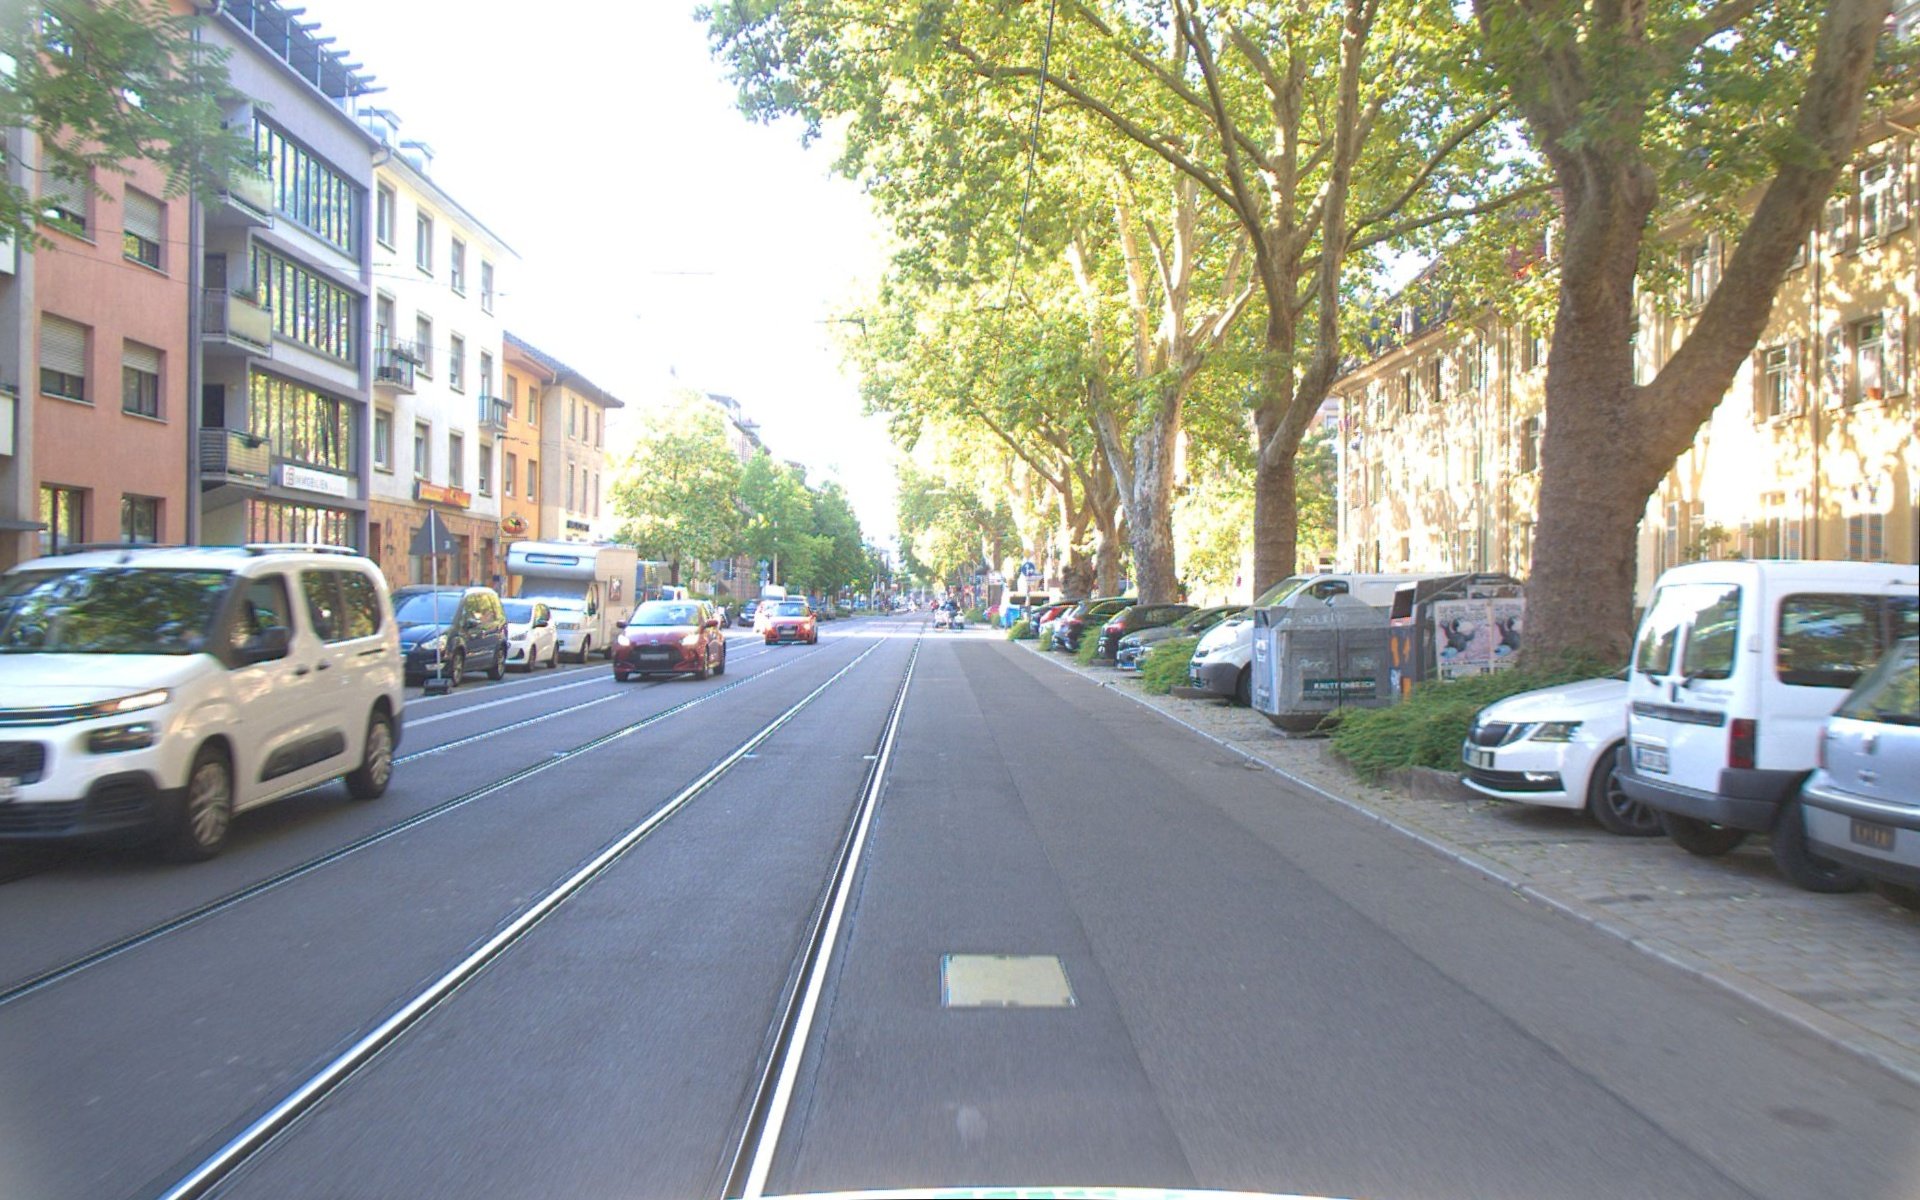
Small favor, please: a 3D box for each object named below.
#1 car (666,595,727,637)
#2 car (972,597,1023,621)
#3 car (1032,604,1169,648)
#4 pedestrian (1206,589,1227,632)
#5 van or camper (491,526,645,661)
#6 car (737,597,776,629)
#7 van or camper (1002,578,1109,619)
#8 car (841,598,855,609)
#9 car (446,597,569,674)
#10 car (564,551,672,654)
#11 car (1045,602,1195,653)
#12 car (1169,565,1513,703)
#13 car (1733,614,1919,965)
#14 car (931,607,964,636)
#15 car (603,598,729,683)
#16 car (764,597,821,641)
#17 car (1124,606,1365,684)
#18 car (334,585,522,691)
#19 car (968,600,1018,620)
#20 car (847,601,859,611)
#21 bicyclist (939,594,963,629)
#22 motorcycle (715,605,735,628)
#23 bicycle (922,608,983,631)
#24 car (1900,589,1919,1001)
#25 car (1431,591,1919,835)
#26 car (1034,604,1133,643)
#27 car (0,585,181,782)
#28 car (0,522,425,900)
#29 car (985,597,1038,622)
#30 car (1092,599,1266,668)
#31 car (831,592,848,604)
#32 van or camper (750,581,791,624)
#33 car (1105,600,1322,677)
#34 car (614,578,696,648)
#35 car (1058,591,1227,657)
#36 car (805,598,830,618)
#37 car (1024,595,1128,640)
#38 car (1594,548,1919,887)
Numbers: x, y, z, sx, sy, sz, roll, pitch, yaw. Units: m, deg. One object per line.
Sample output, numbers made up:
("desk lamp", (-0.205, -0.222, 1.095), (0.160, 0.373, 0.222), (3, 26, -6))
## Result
("car", (-10.450, 0.620, 65.900), (1.800, 1.494, 5.066), (3, 0, -3))
("car", (2.927, 0.683, 128.698), (3.906, 1.816, 2.000), (0, 0, -1))
("car", (4.846, 0.888, 57.545), (4.591, 1.472, 1.892), (0, 0, -1))
("pedestrian", (10.785, 0.446, 69.672), (0.745, 1.769, 0.821), (0, 0, -1))
("van or camper", (-9.980, -0.160, 42.700), (2.290, 3.094, 6.397), (3, 0, 0))
("car", (-11.411, 0.719, 93.040), (1.751, 1.614, 4.342), (3, 0, -2))
("van or camper", (5.115, -0.097, 88.632), (5.448, 2.048, 2.242), (0, 3, -6))
("car", (-15.705, 0.525, 232.060), (1.881, 1.444, 3.586), (-2, -1, -6))
("car", (-9.847, 0.734, 36.256), (1.676, 1.514, 3.860), (3, 0, -2))
("car", (-10.119, 0.072, 49.310), (2.044, 2.779, 5.308), (3, 0, -1))
("car", (4.721, 0.800, 49.151), (4.209, 1.464, 1.947), (0, 0, -2))
("car", (5.726, 0.505, 25.250), (4.740, 1.998, 2.063), (0, 0, -4))
("car", (5.948, 0.816, 7.798), (3.764, 1.458, 1.852), (0, 0, 3))
("car", (-0.769, 1.221, 97.057), (1.879, 1.612, 3.790), (-1, 0, -1))
("car", (-5.557, 0.721, 31.696), (1.740, 1.483, 4.201), (-1, 0, -1))
("car", (-5.886, 0.656, 58.416), (1.688, 1.462, 4.068), (-1, 0, -1))
("car", (5.307, 0.829, 31.262), (4.305, 1.404, 1.804), (0, 0, 3))
("car", (-9.651, 0.628, 30.448), (1.913, 1.716, 5.069), (2, 0, -2))
("car", (2.578, 0.805, 130.997), (3.906, 1.547, 2.000), (0, 0, -1))
("car", (-16.148, 0.854, 249.898), (1.880, 1.443, 3.588), (0, 0, -3))
("bicyclist", (-0.462, 0.567, 82.523), (1.027, 1.735, 1.055), (0, 0, -11))
("motorcycle", (-12.634, 0.878, 88.901), (0.748, 1.126, 2.329), (1, 2, -1))
("bicycle", (-0.365, 0.981, 82.518), (2.895, 1.124, 1.049), (0, 0, -11))
("car", (5.639, 0.737, 5.472), (4.006, 1.548, 1.915), (0, -1, -2))
("car", (5.736, 0.743, 11.782), (4.279, 1.569, 1.802), (0, 1, 3))
("car", (4.630, 0.876, 62.408), (3.575, 1.402, 1.889), (0, 0, -1))
("car", (-9.287, 0.724, 15.602), (1.745, 1.638, 4.586), (3, 0, -2))
("car", (-5.108, 0.540, 10.590), (1.853, 1.864, 4.894), (0, 0, -1))
("car", (3.828, 0.717, 123.170), (3.906, 1.816, 2.000), (0, 0, -1))
("car", (4.991, 0.756, 38.044), (3.760, 1.536, 1.710), (0, 0, -2))
("car", (-14.174, -0.245, 195.424), (1.879, 1.443, 3.719), (0, 0, -2))
("van or camper", (-11.673, 0.162, 102.271), (2.037, 2.577, 5.316), (0, 0, -1))
("car", (5.175, 0.771, 34.140), (4.161, 1.509, 1.897), (0, 0, -1))
("car", (-10.157, 0.380, 55.366), (1.914, 2.127, 5.246), (3, 1, -3))
("car", (4.877, 0.642, 44.676), (4.402, 1.630, 2.028), (-2, 0, 3))
("car", (-12.665, 0.708, 147.264), (1.953, 1.775, 4.658), (0, 0, -1))
("car", (4.506, 0.675, 64.630), (3.845, 1.699, 1.960), (0, 0, -3))
("car", (5.975, 0.635, 9.761), (3.764, 1.803, 1.917), (0, 0, 3))
